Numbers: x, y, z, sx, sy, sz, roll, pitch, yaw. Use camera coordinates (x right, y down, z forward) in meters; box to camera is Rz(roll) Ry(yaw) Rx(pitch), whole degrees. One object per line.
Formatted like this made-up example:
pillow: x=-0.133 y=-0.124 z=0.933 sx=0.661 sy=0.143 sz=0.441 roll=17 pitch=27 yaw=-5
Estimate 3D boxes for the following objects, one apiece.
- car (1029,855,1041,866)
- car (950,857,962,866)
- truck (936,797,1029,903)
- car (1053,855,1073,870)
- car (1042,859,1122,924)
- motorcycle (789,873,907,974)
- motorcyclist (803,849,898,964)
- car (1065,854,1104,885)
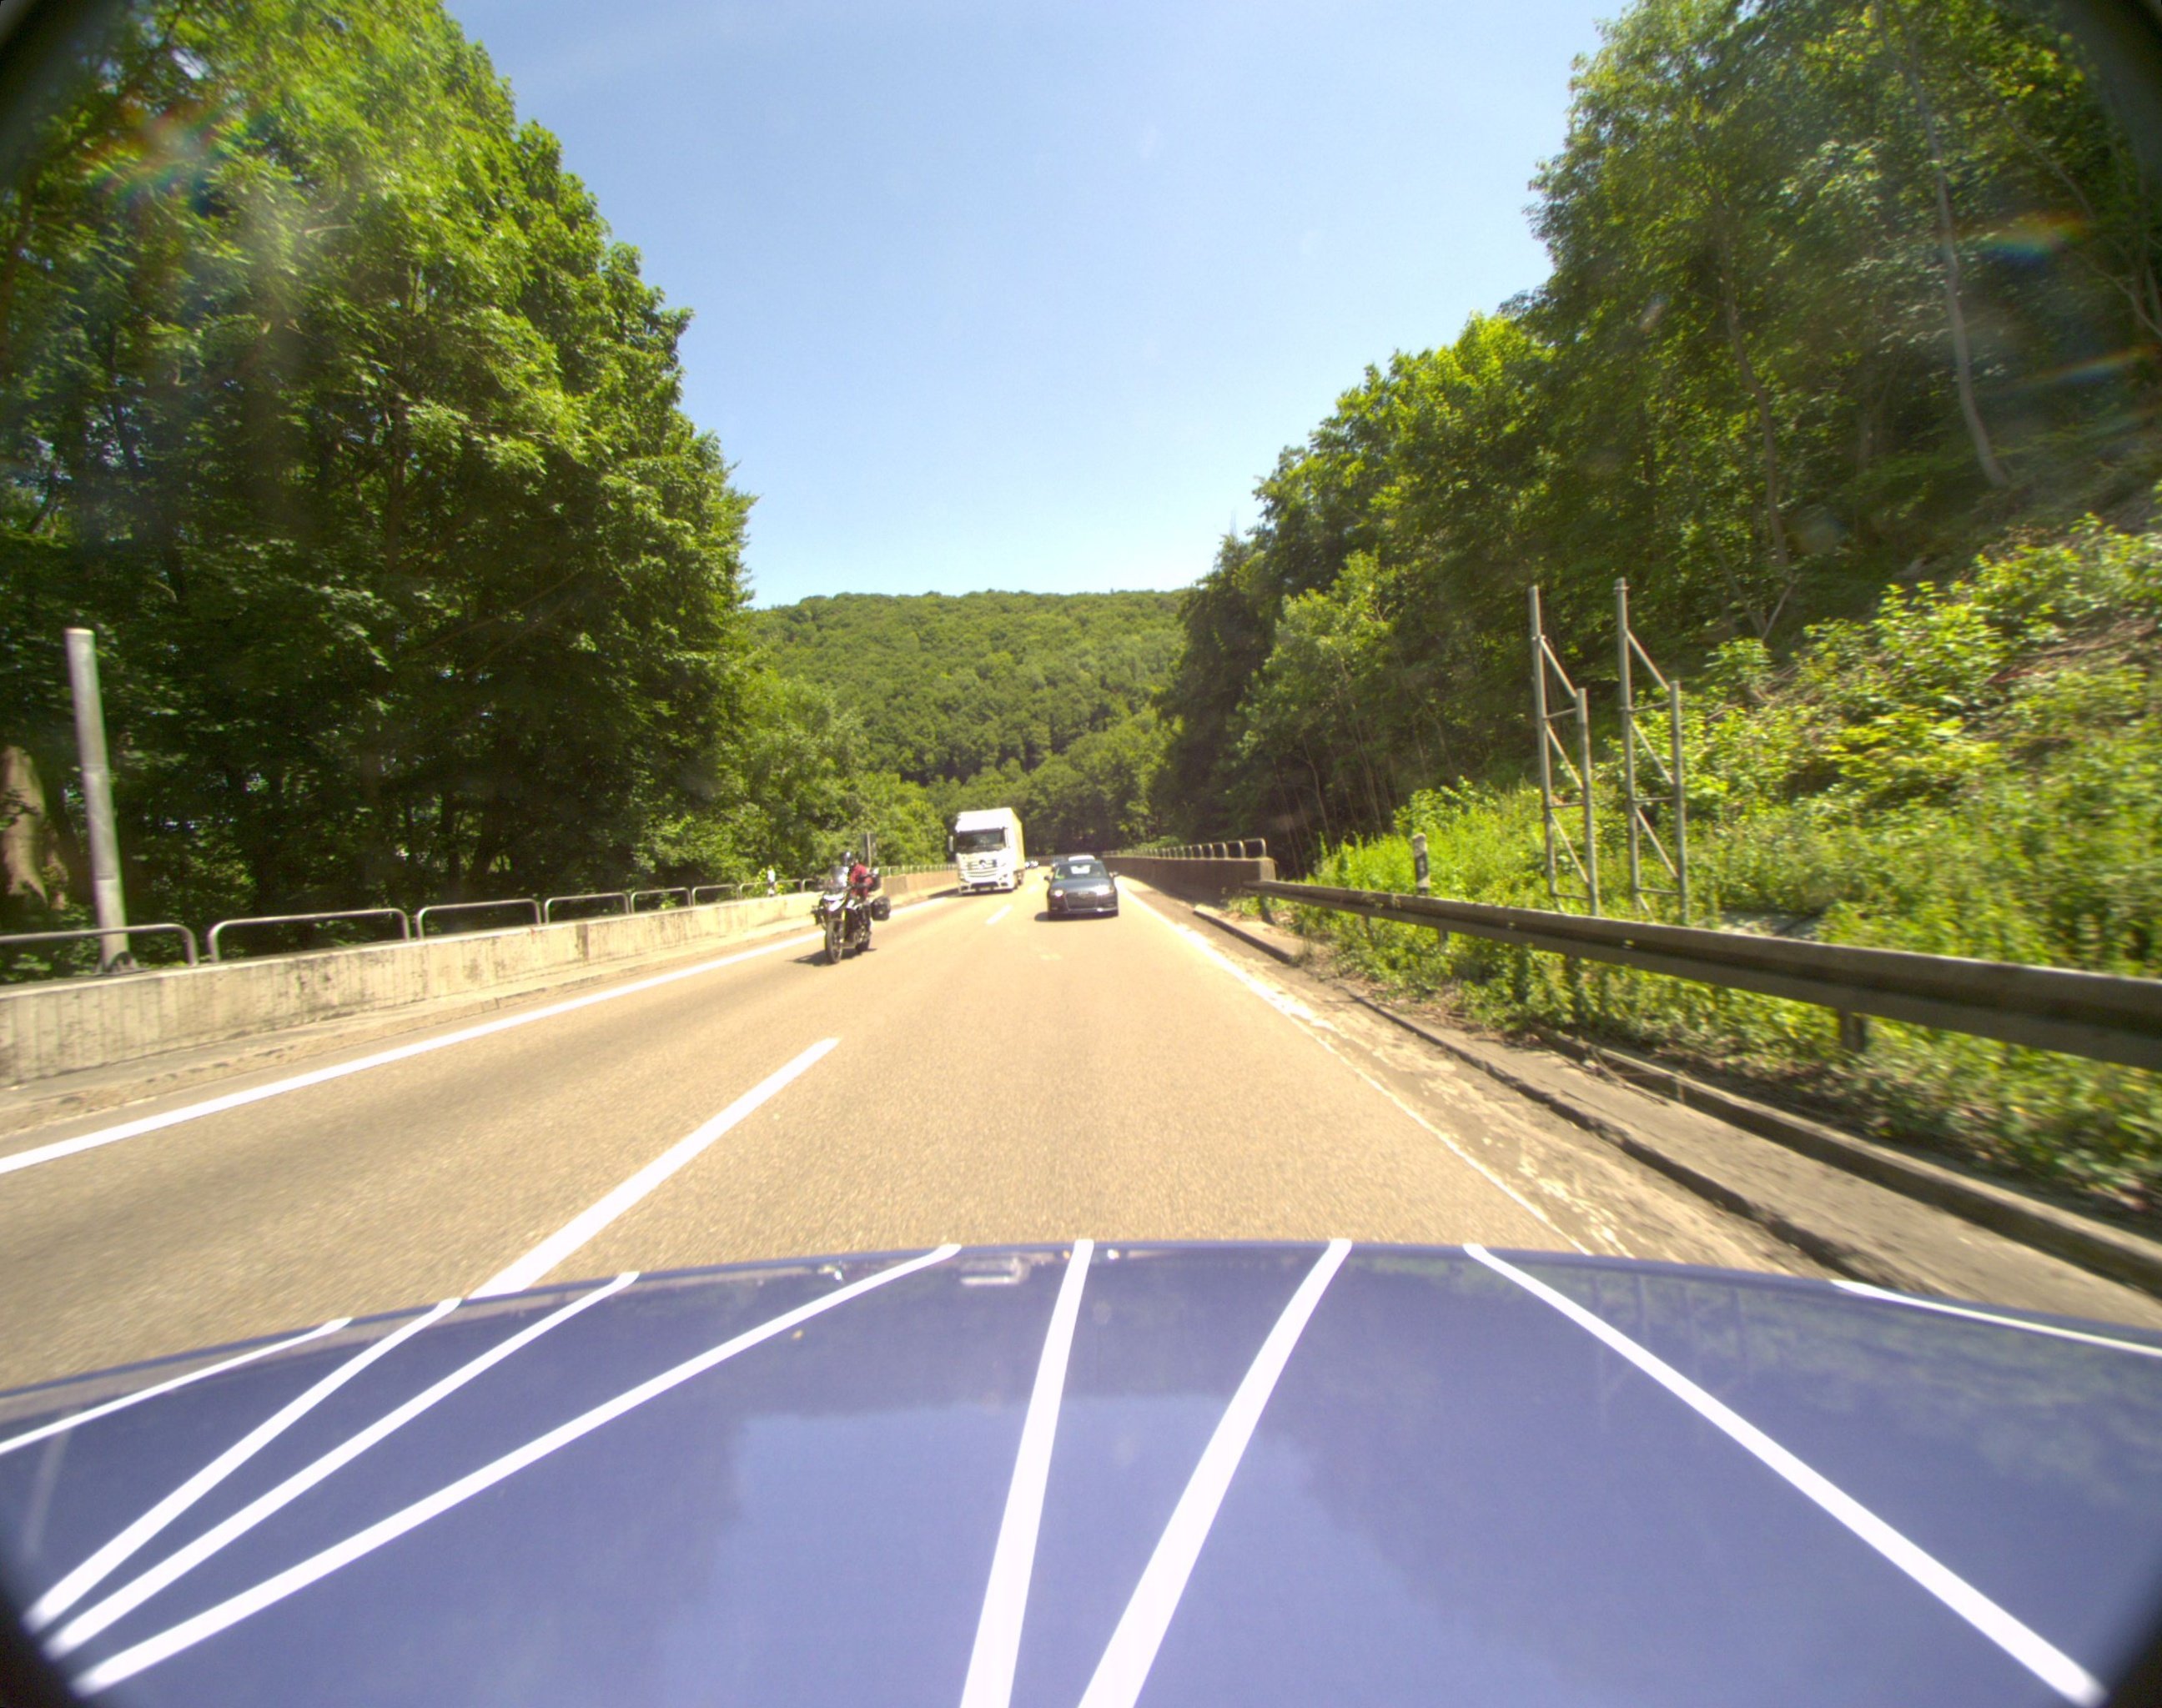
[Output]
car: x=-6.542 y=0.892 z=107.876 sx=1.619 sy=1.487 sz=3.654 roll=-3 pitch=0 yaw=-5
car: x=-27.354 y=1.658 z=165.958 sx=2.001 sy=2.002 sz=3.994 roll=-3 pitch=0 yaw=-18
truck: x=-4.602 y=-0.195 z=39.537 sx=2.969 sy=4.108 sz=16.702 roll=-6 pitch=0 yaw=-2
car: x=-1.895 y=0.864 z=79.479 sx=1.756 sy=1.480 sz=3.980 roll=-2 pitch=0 yaw=-5
car: x=-0.010 y=0.867 z=19.332 sx=1.755 sy=1.350 sz=4.121 roll=-3 pitch=0 yaw=-1
motorcycle: x=-3.850 y=1.093 z=12.892 sx=0.975 sy=1.411 sz=2.681 roll=-3 pitch=0 yaw=3
motorcyclist: x=-3.862 y=0.839 z=12.869 sx=1.063 sy=1.790 sz=1.338 roll=-3 pitch=1 yaw=3
car: x=0.142 y=0.761 z=39.444 sx=1.756 sy=1.460 sz=3.981 roll=-3 pitch=0 yaw=-3
